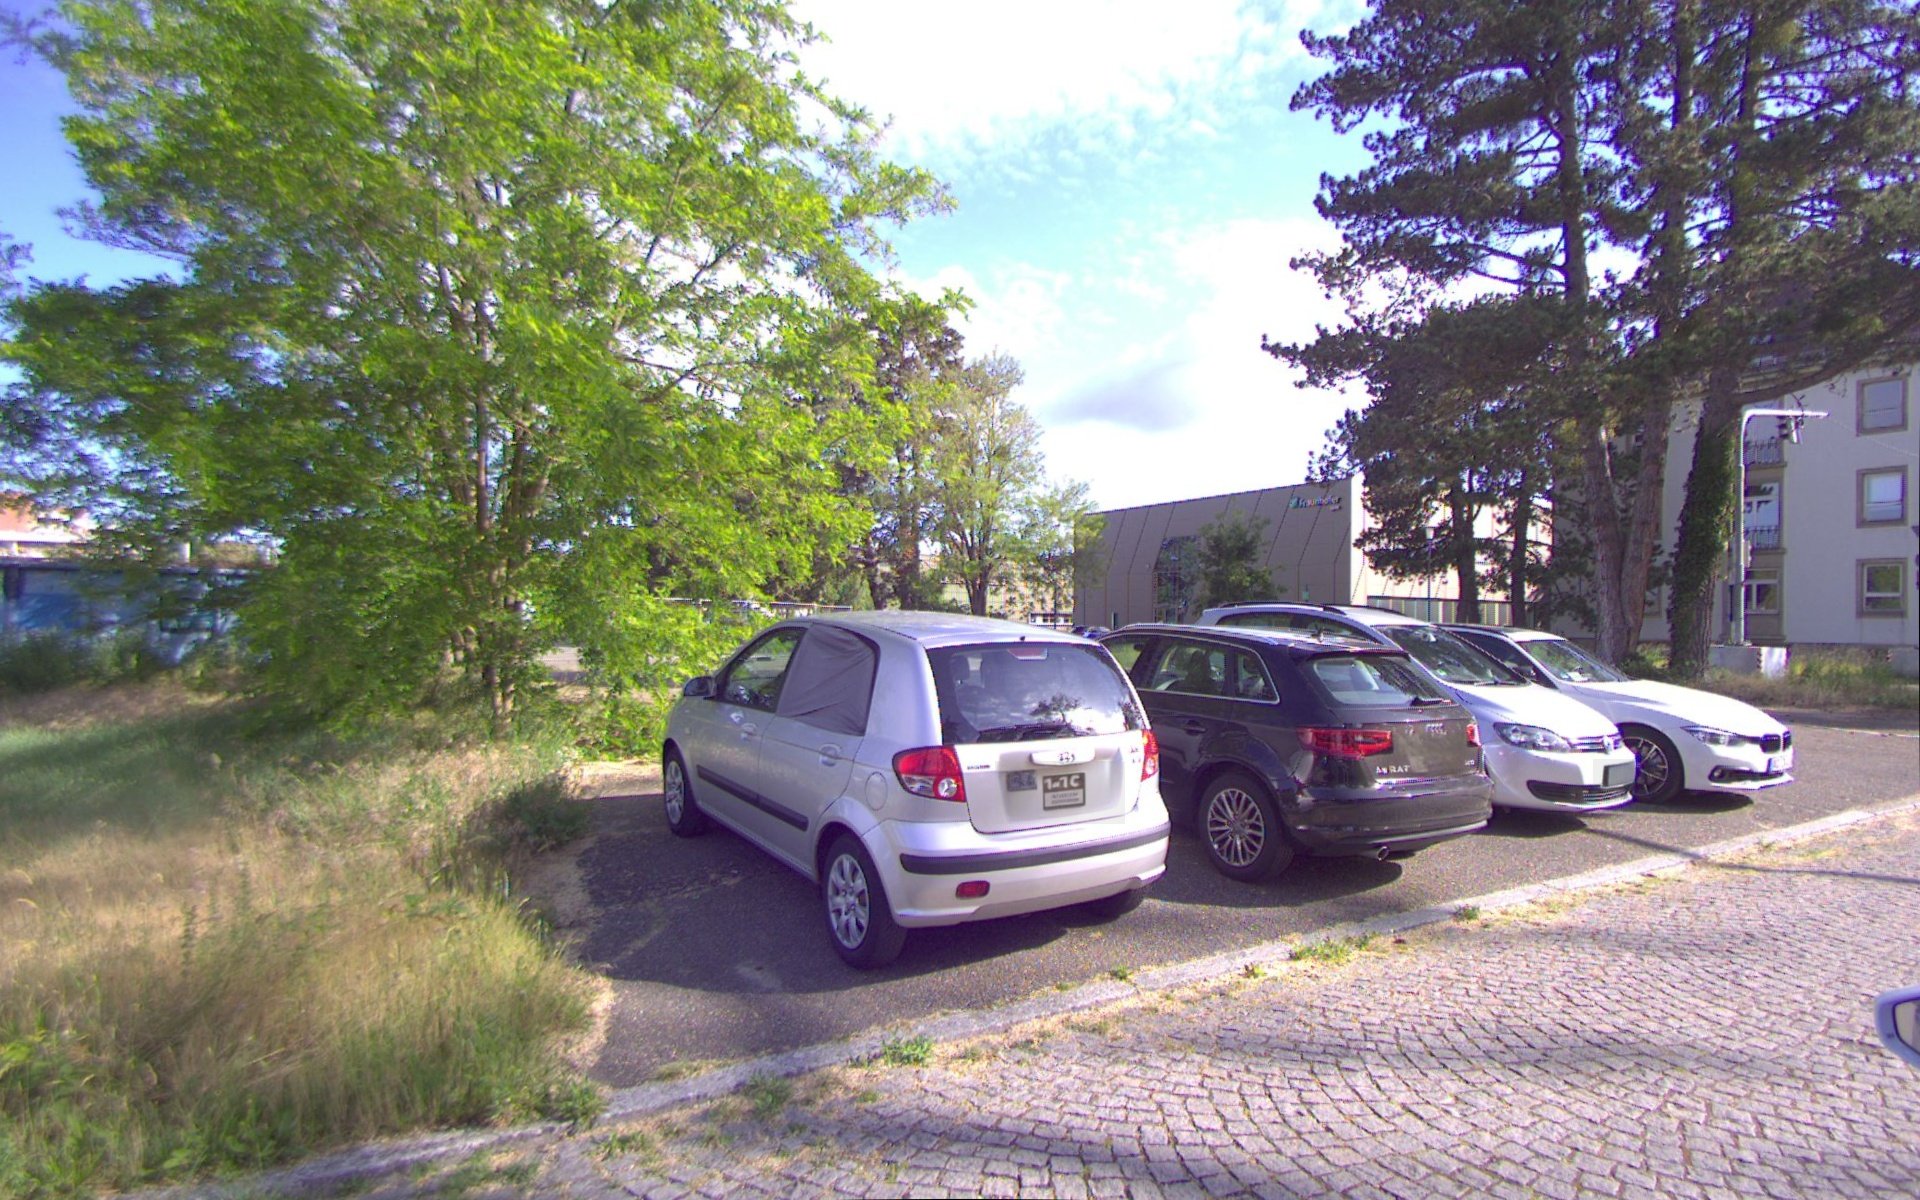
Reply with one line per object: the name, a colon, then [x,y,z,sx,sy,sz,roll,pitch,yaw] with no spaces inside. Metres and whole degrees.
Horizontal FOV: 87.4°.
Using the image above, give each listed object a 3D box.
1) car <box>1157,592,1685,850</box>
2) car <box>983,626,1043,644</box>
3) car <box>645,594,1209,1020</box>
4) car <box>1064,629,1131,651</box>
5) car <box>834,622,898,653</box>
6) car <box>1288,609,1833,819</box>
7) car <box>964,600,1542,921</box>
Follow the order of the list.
car: [3.811,0.832,8.953,1.705,1.648,3.917,1,1,-35]
car: [3.694,2.445,69.509,3.950,1.221,1.481,1,-1,-28]
car: [-0.471,0.792,5.679,1.619,1.490,3.444,1,2,-33]
car: [8.431,2.452,61.500,4.001,1.311,1.481,1,-1,-29]
car: [-4.471,1.738,47.436,1.726,1.388,3.595,1,-1,-28]
car: [5.823,0.941,10.388,1.734,1.487,4.513,1,1,-33]
car: [1.750,0.835,7.156,1.669,1.490,3.776,1,2,-32]
